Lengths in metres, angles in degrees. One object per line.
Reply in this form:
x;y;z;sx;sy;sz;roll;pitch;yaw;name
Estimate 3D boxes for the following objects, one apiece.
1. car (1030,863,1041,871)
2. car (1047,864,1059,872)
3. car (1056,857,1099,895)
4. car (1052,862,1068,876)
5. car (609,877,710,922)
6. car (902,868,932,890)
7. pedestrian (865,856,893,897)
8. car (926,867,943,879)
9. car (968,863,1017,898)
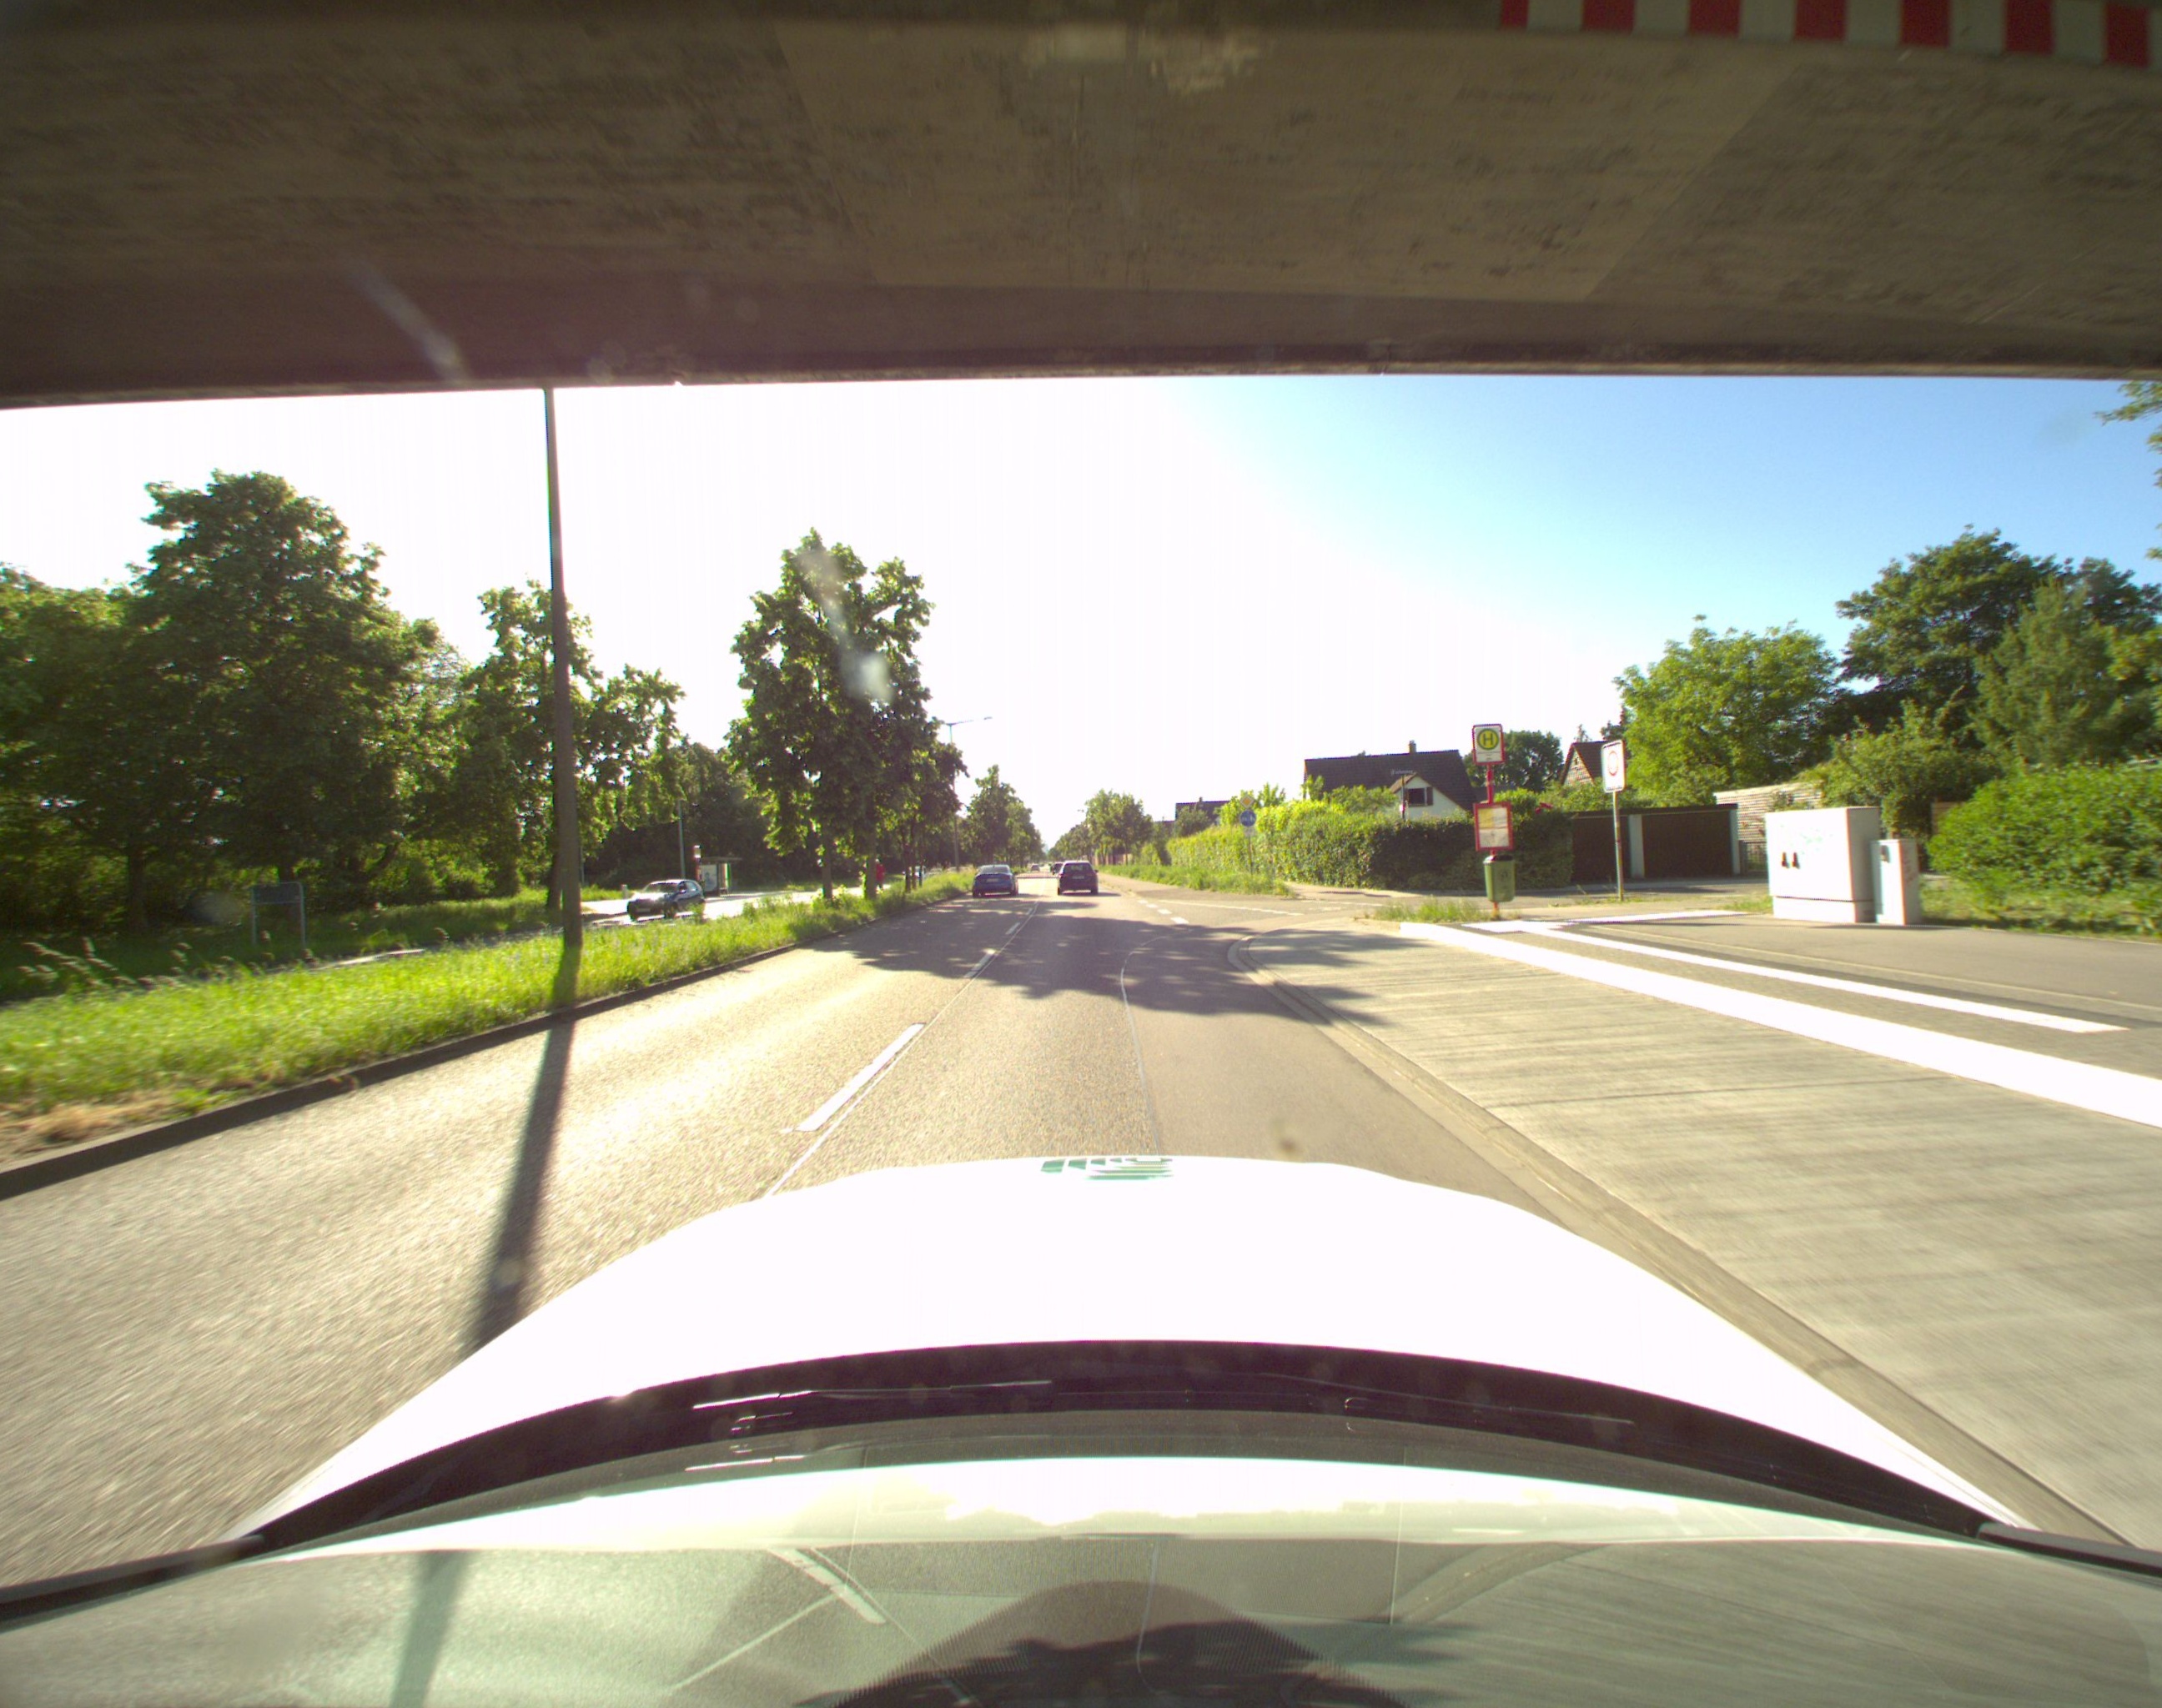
-8.736;2.530;155.895;1.976;1.440;3.991;-2;0;-6;car
-4.875;2.452;141.660;1.896;1.356;3.991;-2;0;-6;car
-0.189;0.962;35.995;1.756;1.559;3.997;-1;-1;-2;car
-2.656;1.808;100.952;1.741;1.597;4.168;-2;0;-4;car
-16.131;1.702;31.410;1.535;1.431;4.256;-4;0;1;car
-13.783;2.086;68.680;1.726;1.632;4.193;-3;0;-3;car
-8.565;0.939;34.477;0.624;1.696;0.949;-2;-1;28;pedestrian
-19.802;2.560;110.441;1.802;1.500;4.588;-2;0;-5;car
-3.950;1.166;37.050;1.991;1.405;3.994;-2;0;-4;car
